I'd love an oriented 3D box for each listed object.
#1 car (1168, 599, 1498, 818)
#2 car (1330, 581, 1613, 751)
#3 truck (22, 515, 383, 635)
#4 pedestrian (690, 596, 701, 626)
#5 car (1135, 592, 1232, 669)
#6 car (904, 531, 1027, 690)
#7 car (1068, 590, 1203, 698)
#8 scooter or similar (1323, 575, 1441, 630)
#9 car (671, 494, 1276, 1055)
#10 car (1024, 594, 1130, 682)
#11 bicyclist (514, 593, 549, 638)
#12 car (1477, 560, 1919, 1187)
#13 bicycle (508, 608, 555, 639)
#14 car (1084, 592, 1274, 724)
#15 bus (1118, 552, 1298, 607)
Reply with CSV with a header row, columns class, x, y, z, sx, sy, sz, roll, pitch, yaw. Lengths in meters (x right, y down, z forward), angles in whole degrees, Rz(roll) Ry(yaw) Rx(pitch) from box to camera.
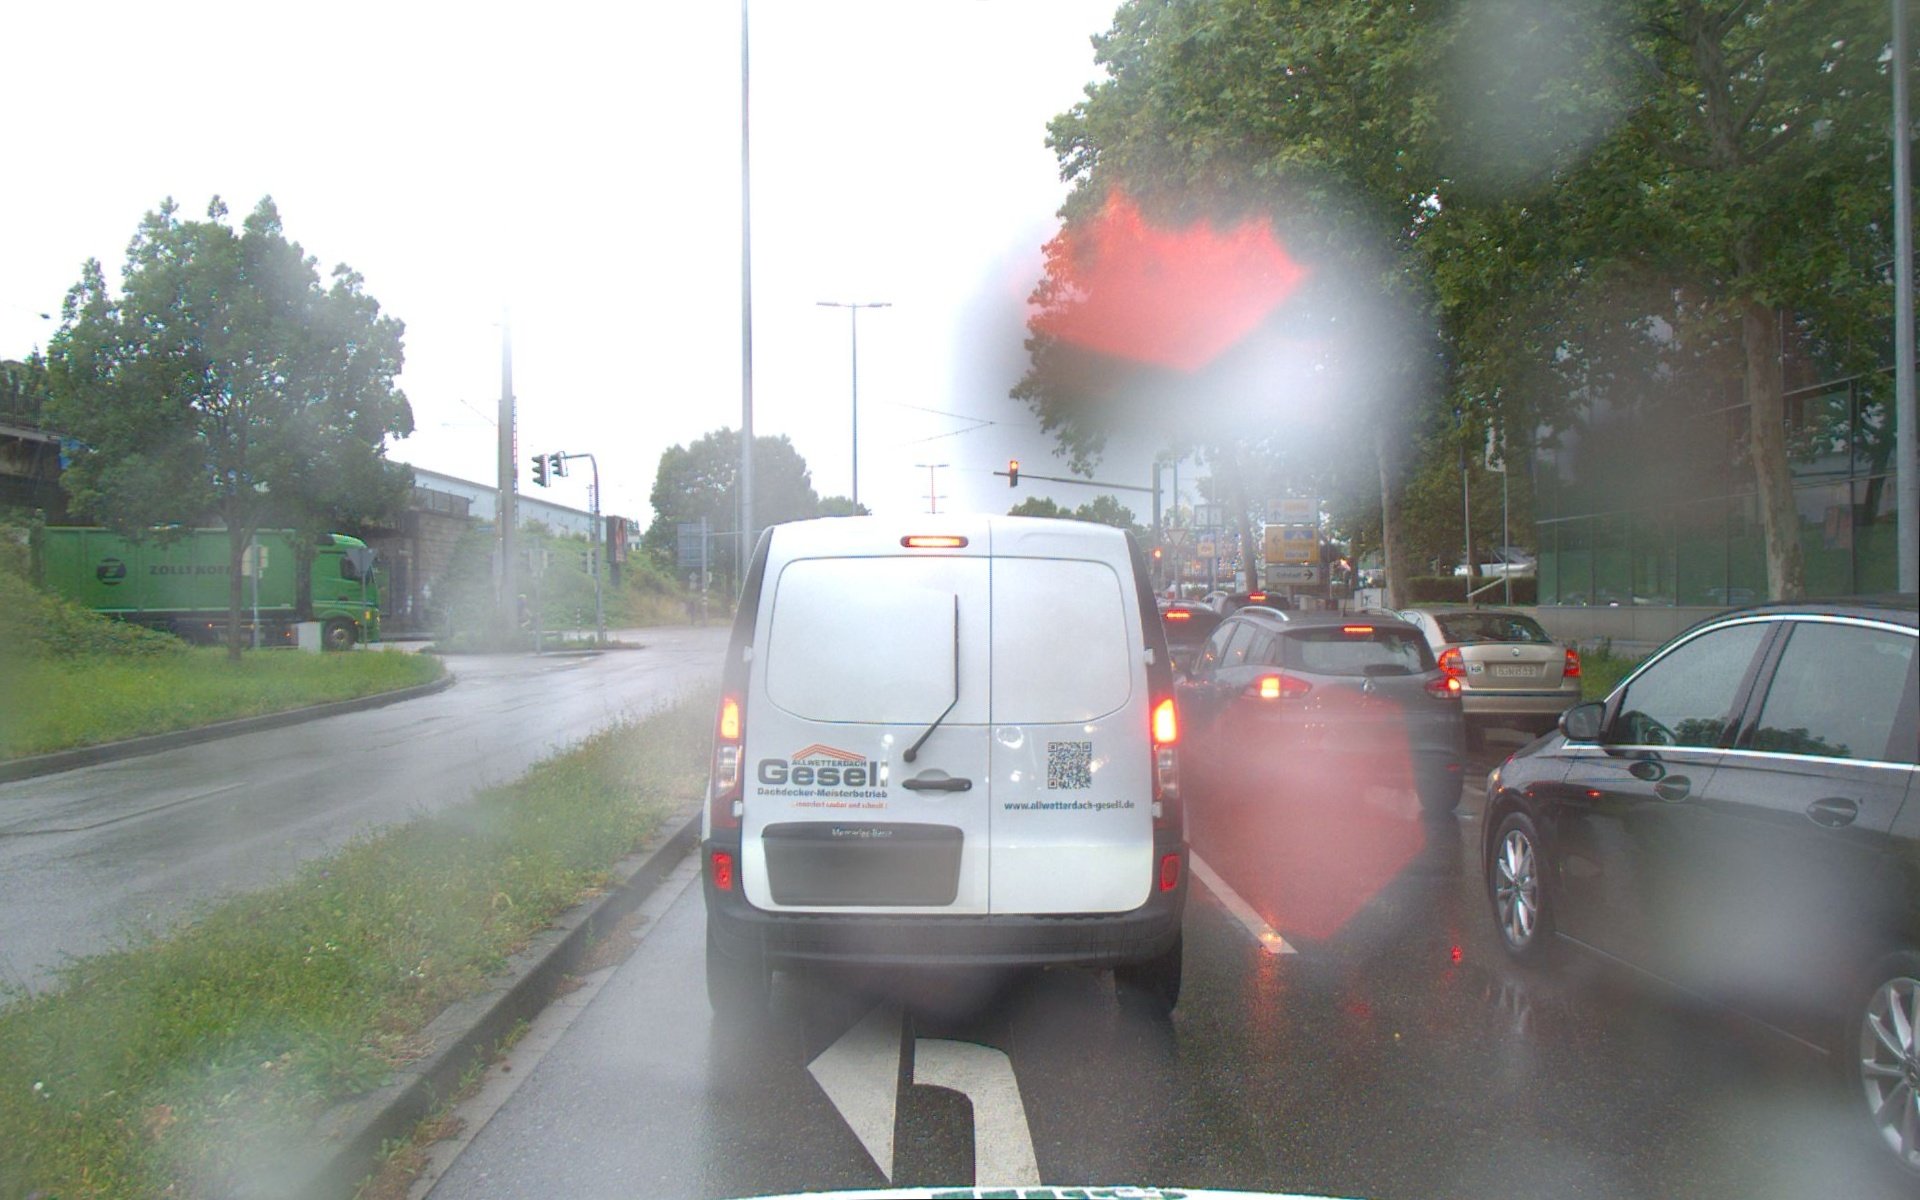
class,x,y,z,sx,sy,sz,roll,pitch,yaw
car,2.771,0.737,13.129,1.649,1.433,3.842,1,0,-2
car,5.559,0.639,18.517,1.838,1.641,3.999,2,1,-1
truck,-23.238,-0.747,51.237,9.956,3.430,2.316,0,0,-37
pedestrian,-15.344,0.624,95.867,0.532,1.746,0.563,1,-1,-5
car,5.177,0.683,38.695,1.674,1.678,3.842,1,0,-1
car,0.053,0.140,26.332,1.816,2.336,3.842,0,0,-1
car,2.878,0.682,27.888,1.816,1.678,3.842,0,0,-1
scooter or similar,19.680,0.103,77.352,1.878,2.489,5.239,0,0,-41
car,0.015,0.543,7.637,1.953,1.807,4.584,0,0,-1
car,2.313,0.734,33.541,1.816,1.678,3.842,0,0,-1
bicyclist,-14.326,0.510,55.292,1.028,1.475,0.723,-1,1,-26
car,3.247,0.692,5.442,1.712,1.582,4.089,0,0,-2
bicycle,-14.350,0.762,55.336,1.027,0.968,2.866,-1,1,-25
car,2.623,0.646,20.656,1.816,1.486,3.842,0,0,-1
bus,16.611,-1.393,111.144,11.727,3.483,2.315,-1,1,-1
